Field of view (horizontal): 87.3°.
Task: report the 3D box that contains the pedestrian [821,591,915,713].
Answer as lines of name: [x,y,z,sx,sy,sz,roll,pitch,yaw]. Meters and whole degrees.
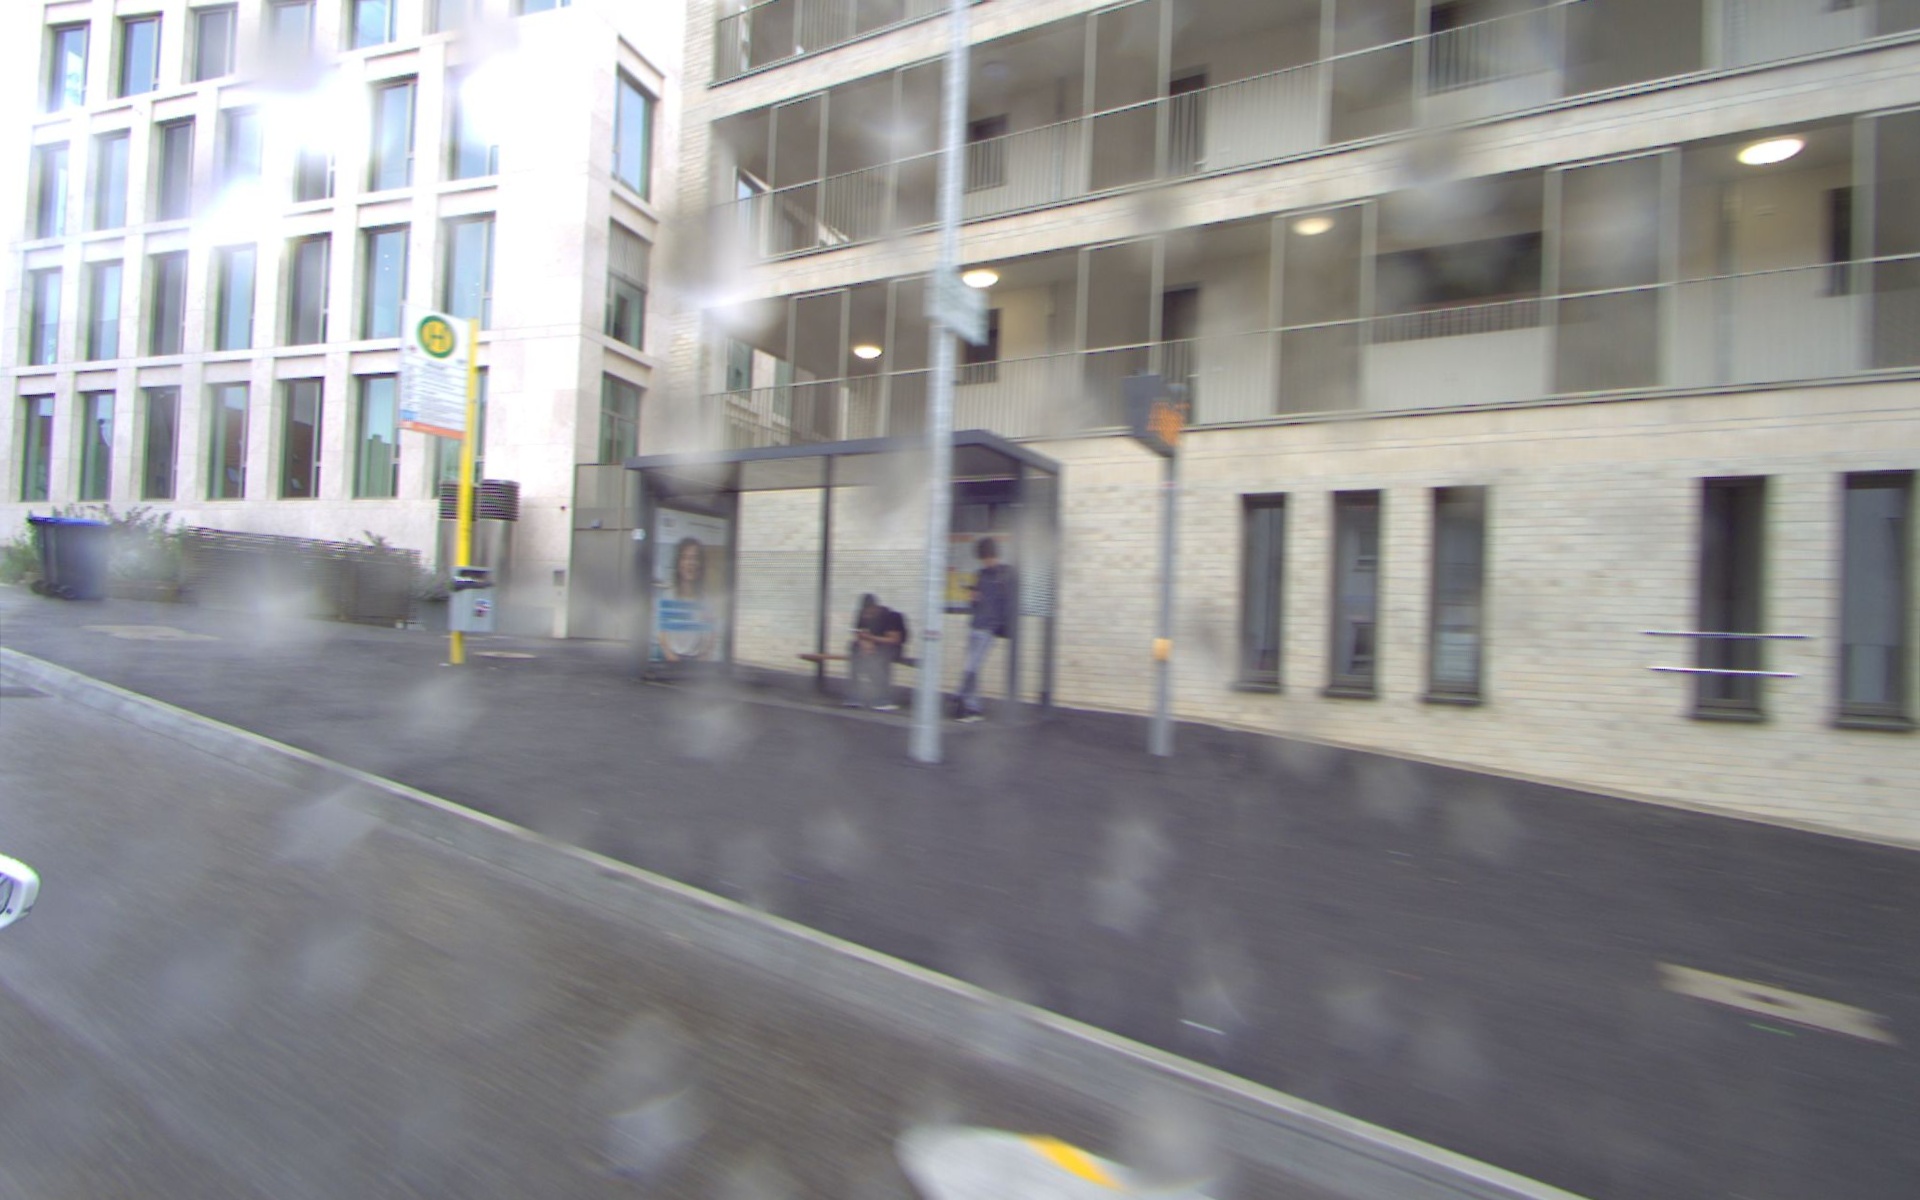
pedestrian: [-0.958,0.535,10.519,0.625,1.178,0.672,6,3,32]

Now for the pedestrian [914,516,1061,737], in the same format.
pedestrian: [0.267,0.234,9.719,1.004,1.966,0.782,6,3,33]

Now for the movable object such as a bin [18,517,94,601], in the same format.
movable object such as a bin: [-12.522,-0.559,13.938,0.569,1.076,0.596,6,1,32]

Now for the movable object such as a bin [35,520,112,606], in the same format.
movable object such as a bin: [-11.955,-0.500,13.570,0.569,1.076,0.596,6,1,32]

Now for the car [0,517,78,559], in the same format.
car: [-46.220,-3.030,49.231,1.746,1.839,4.312,0,0,18]
